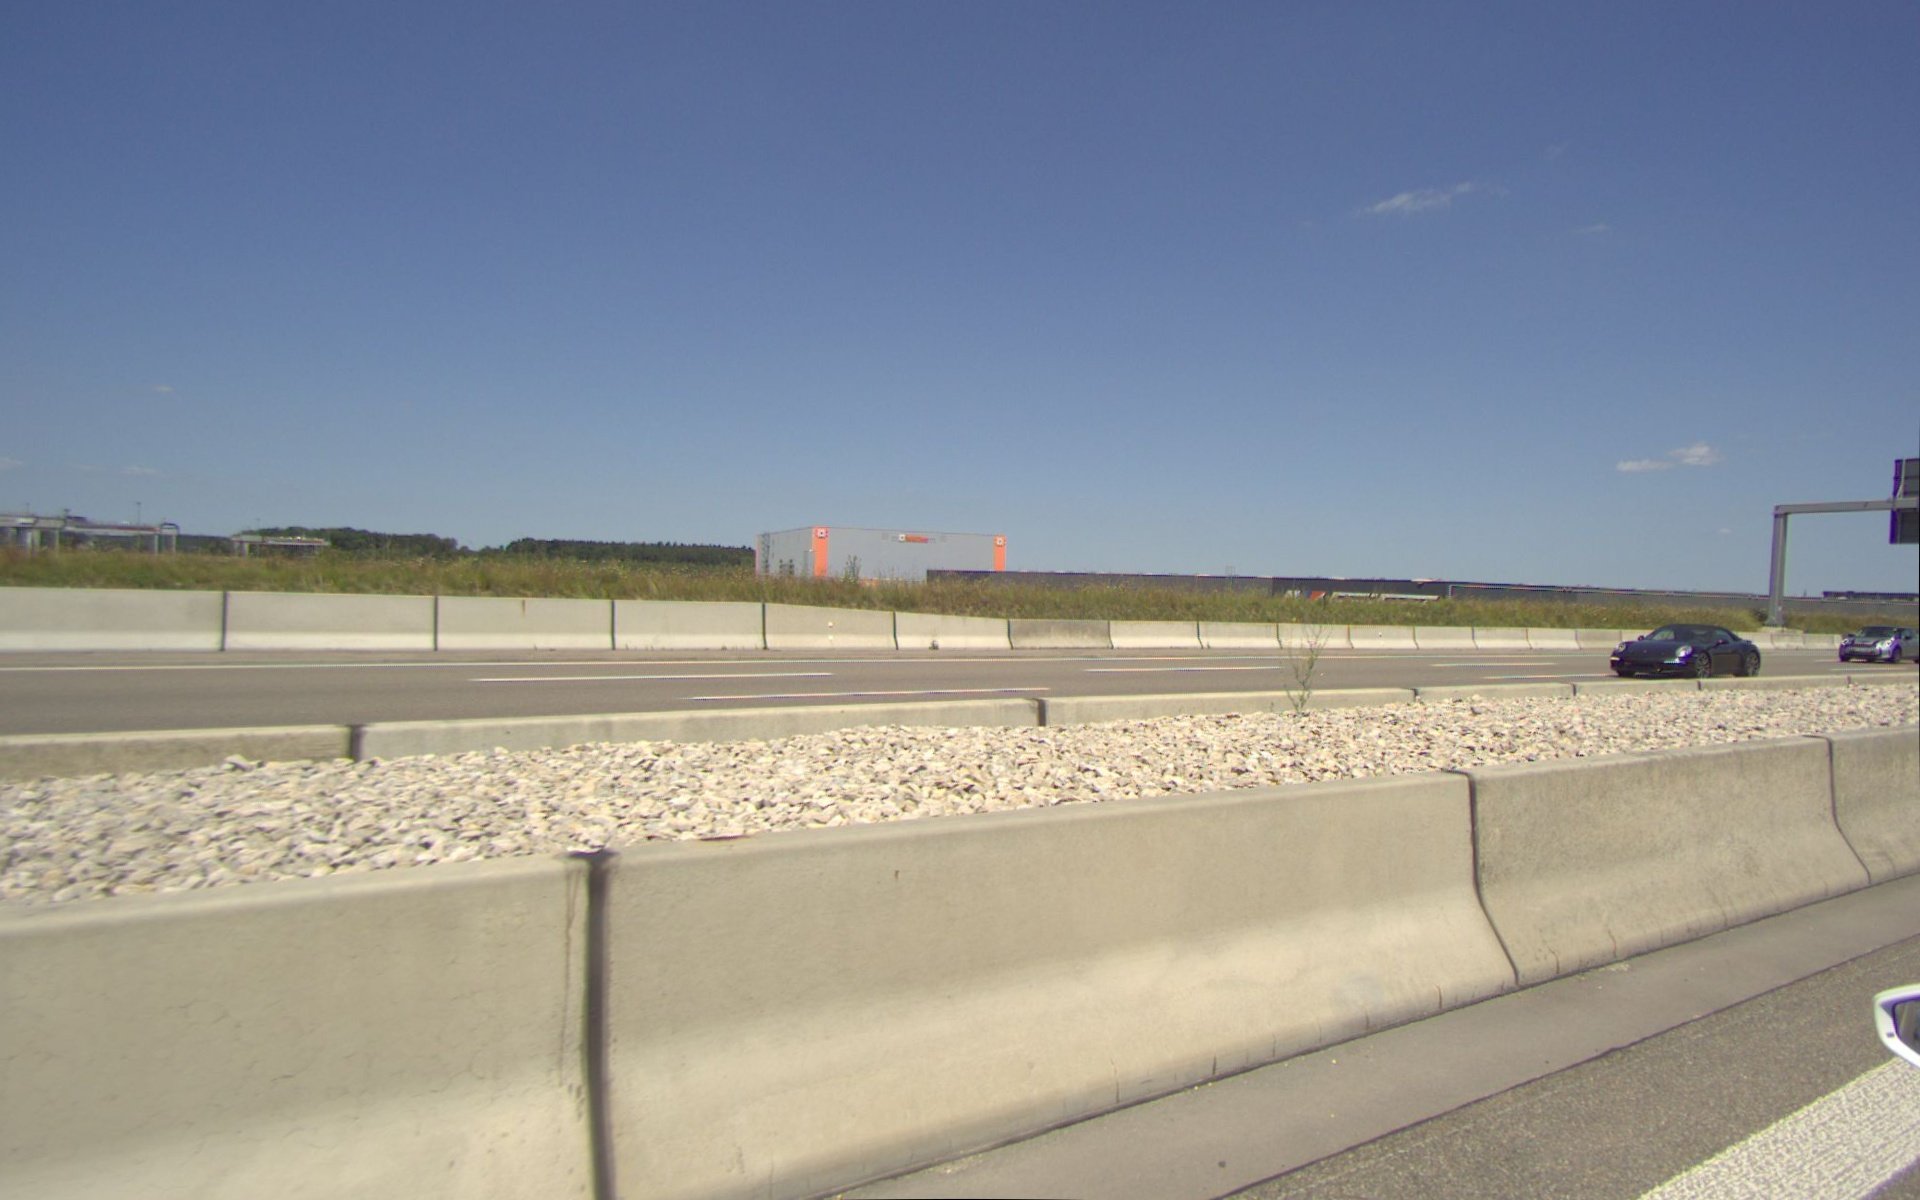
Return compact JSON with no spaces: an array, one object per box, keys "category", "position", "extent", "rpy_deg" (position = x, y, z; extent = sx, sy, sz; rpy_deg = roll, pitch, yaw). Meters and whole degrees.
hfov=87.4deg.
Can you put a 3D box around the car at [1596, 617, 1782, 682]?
[{"category":"car","position":[17.839,1.184,24.554],"extent":[4.693,1.400,1.836],"rpy_deg":[2,0,-29]}]

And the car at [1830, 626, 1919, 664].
[{"category":"car","position":[35.738,1.731,39.100],"extent":[3.944,1.346,1.879],"rpy_deg":[1,0,-34]}]
